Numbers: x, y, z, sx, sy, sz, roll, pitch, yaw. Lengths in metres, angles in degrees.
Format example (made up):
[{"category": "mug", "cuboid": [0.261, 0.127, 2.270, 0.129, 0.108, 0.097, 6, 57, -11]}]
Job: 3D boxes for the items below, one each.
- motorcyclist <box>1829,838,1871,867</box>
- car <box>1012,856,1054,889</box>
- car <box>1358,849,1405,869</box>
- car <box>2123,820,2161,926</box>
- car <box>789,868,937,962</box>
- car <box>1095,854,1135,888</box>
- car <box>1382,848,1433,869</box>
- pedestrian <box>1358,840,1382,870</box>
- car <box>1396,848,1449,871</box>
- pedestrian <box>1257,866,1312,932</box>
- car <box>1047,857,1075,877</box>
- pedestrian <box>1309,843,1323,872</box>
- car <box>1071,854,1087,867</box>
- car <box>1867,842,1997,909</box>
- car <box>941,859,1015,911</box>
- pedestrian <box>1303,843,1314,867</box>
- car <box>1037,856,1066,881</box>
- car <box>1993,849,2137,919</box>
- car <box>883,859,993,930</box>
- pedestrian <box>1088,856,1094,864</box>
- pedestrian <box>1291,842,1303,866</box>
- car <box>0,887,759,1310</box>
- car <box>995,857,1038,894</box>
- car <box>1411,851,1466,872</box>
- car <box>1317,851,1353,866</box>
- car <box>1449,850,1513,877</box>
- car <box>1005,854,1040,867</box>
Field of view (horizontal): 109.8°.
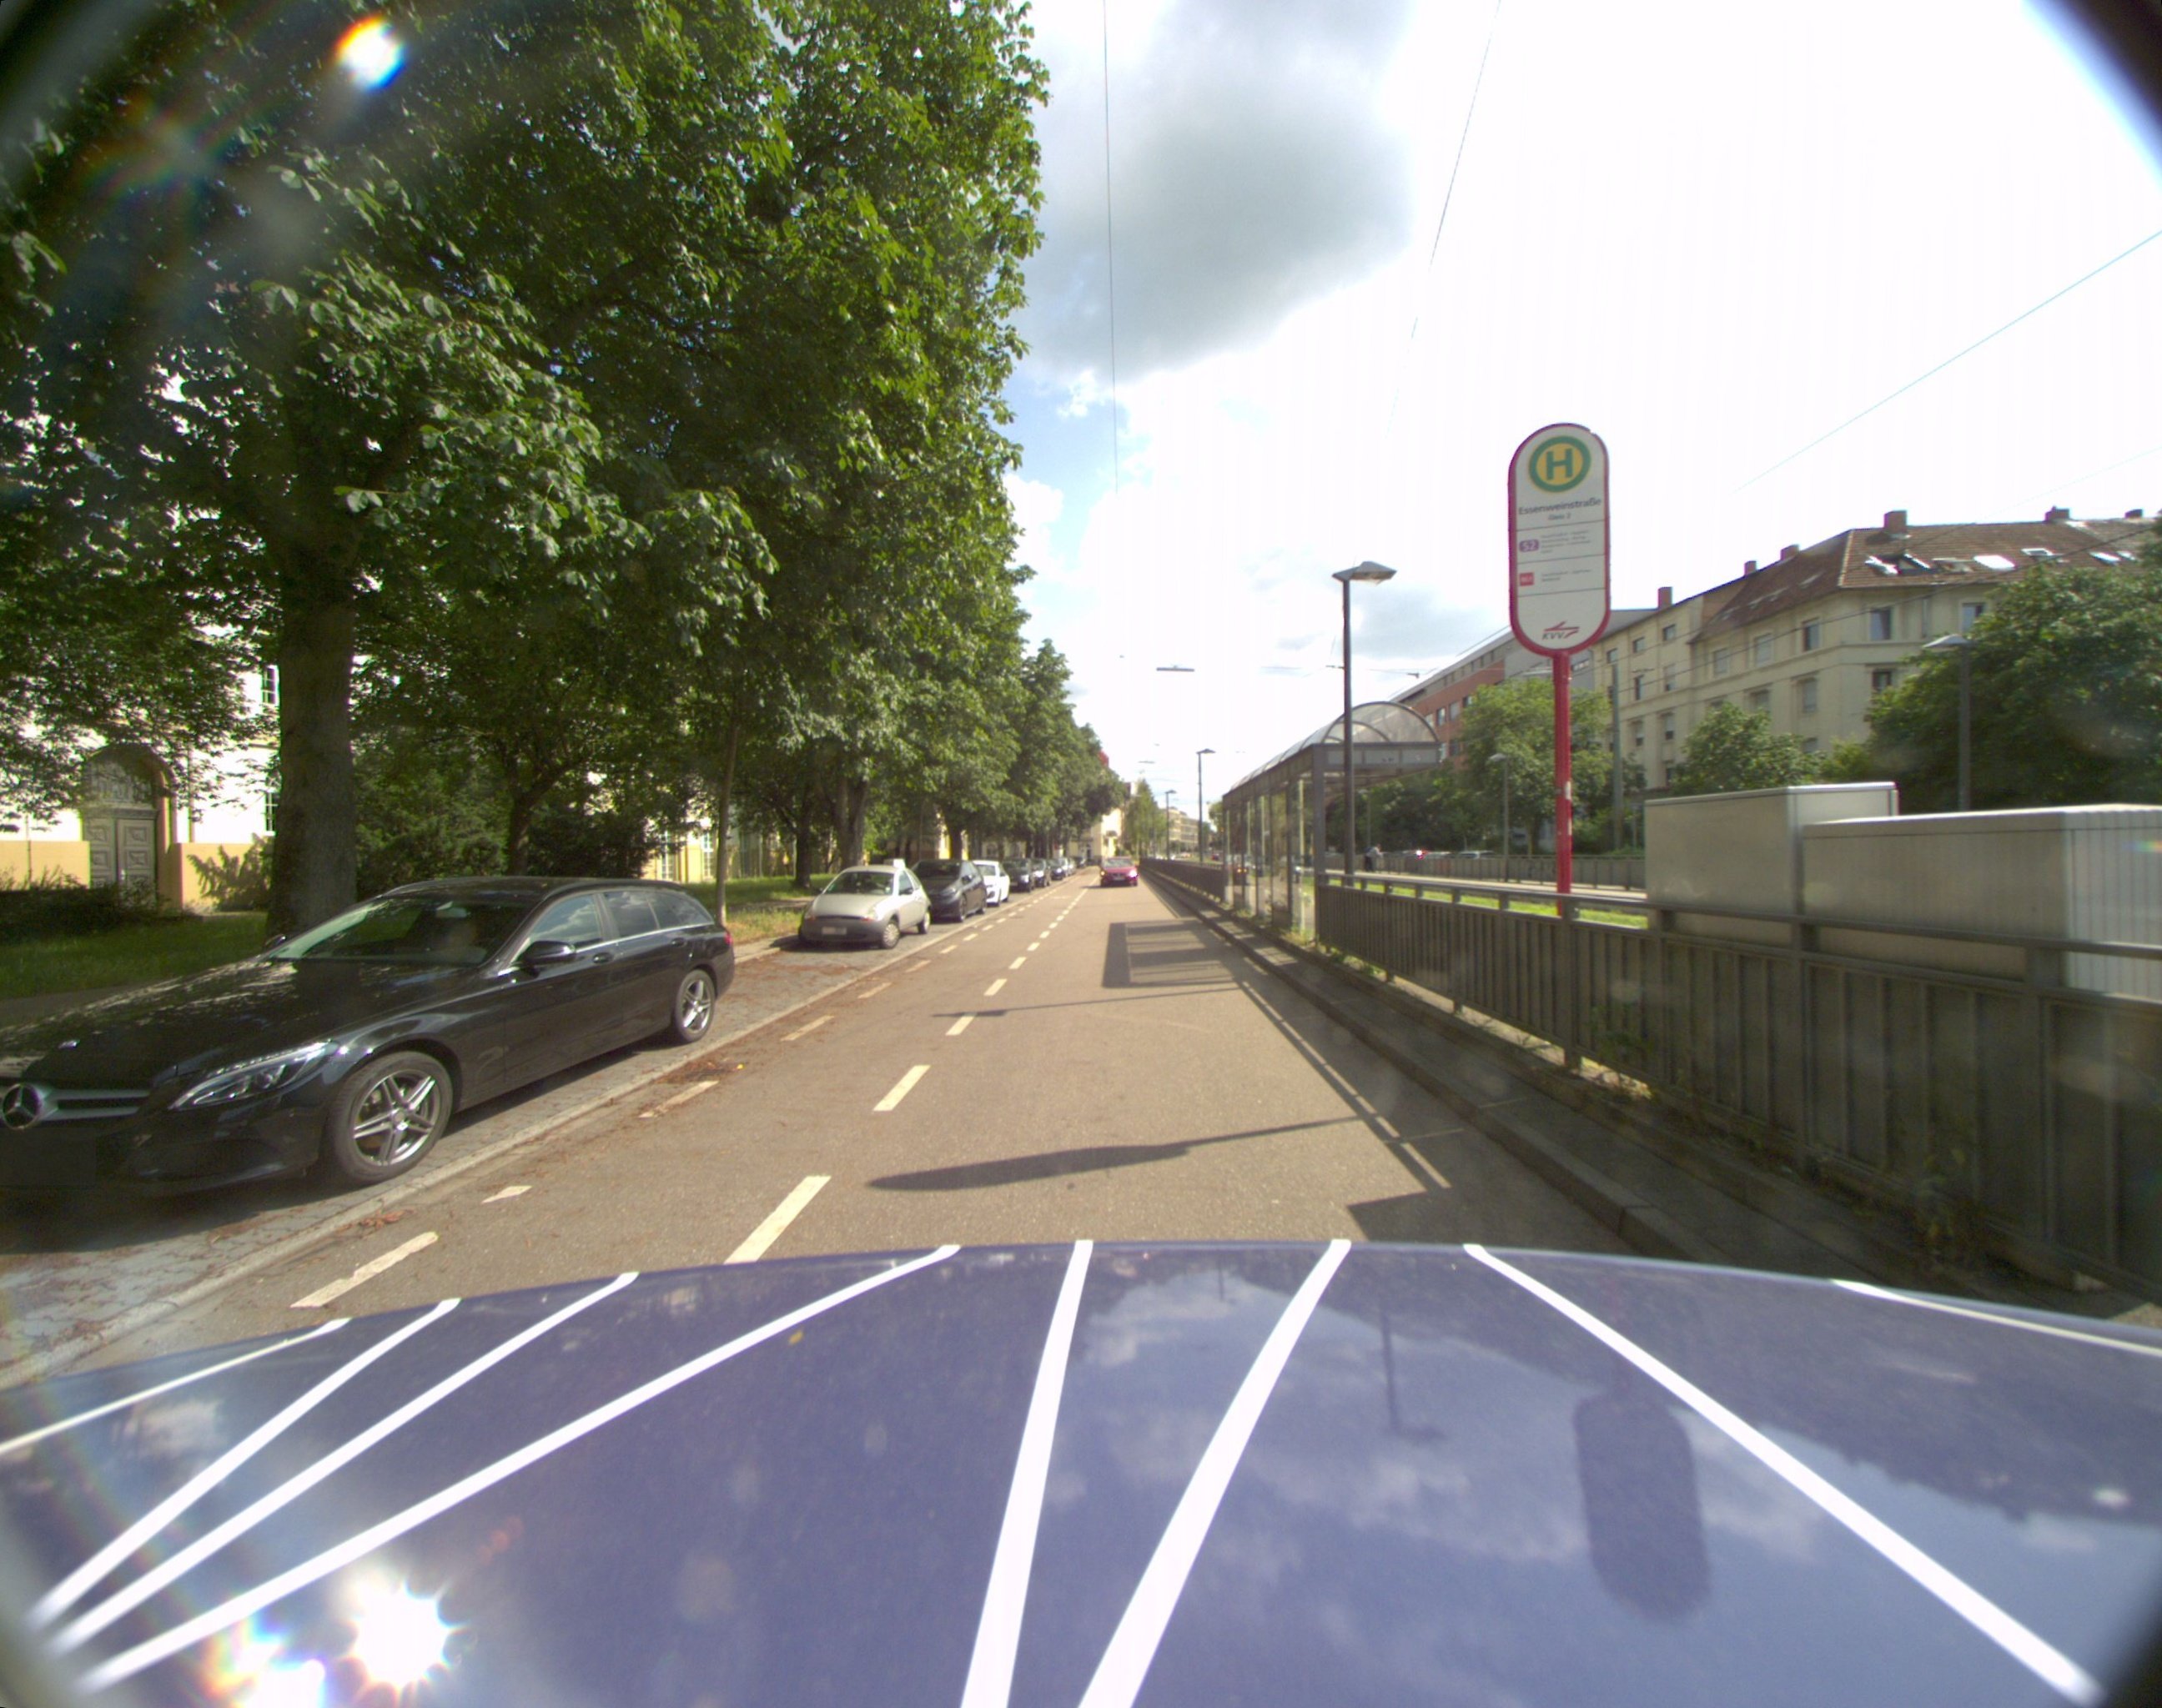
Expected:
[{"category": "motorcyclist", "cuboid": [35.836, -0.088, 35.416, 0.940, 1.331, 0.987, 0, 1, 4]}, {"category": "car", "cuboid": [-2.422, 0.906, 39.317, 1.694, 1.552, 4.308, 2, 0, 3]}, {"category": "car", "cuboid": [25.860, 0.422, 65.322, 4.006, 1.520, 1.669, -3, 0, -34]}, {"category": "car", "cuboid": [22.930, 0.329, 15.133, 3.957, 2.058, 2.045, -1, 0, -28]}, {"category": "car", "cuboid": [-3.964, 1.040, 14.413, 1.594, 1.437, 3.598, 1, 1, 3]}, {"category": "car", "cuboid": [1.677, 0.794, 37.129, 1.790, 1.499, 4.000, -2, 0, 3]}, {"category": "car", "cuboid": [25.631, 0.338, 59.613, 4.006, 1.559, 1.606, -1, 0, -31]}, {"category": "pedestrian", "cuboid": [15.659, 0.055, 41.183, 0.991, 1.569, 0.798, -1, 1, 0]}, {"category": "car", "cuboid": [25.529, 0.354, 56.720, 4.144, 1.630, 1.829, -1, 1, -37]}, {"category": "pedestrian", "cuboid": [3.461, 0.748, 12.890, 0.662, 1.066, 0.725, -1, 0, 37]}, {"category": "car", "cuboid": [-1.472, 0.944, 56.838, 1.639, 1.423, 4.016, 2, 0, 5]}, {"category": "pedestrian", "cuboid": [15.498, 0.211, 50.210, 0.752, 1.881, 0.639, -1, 3, 5]}, {"category": "car", "cuboid": [-0.258, 0.742, 89.277, 1.689, 1.379, 3.924, 0, 1, 3]}, {"category": "car", "cuboid": [23.372, 0.549, 20.834, 4.007, 1.630, 1.823, -1, -1, -34]}, {"category": "car", "cuboid": [-3.347, 0.952, 25.409, 1.840, 1.515, 4.253, 1, 0, 0]}, {"category": "pedestrian", "cuboid": [16.406, 0.080, 54.800, 0.608, 1.665, 0.625, -1, 1, 3]}, {"category": "car", "cuboid": [-1.938, 0.911, 50.908, 1.836, 1.458, 4.830, 1, 1, -1]}, {"category": "car", "cuboid": [23.522, 0.645, 18.129, 4.006, 1.477, 1.606, -1, 0, -30]}, {"category": "car", "cuboid": [-3.569, 0.952, 19.812, 1.729, 1.574, 4.678, 0, 0, 3]}, {"category": "pedestrian", "cuboid": [1.545, 0.884, 112.908, 0.804, 1.238, 0.892, -1, 2, 5]}, {"category": "pedestrian", "cuboid": [15.649, -0.018, 54.960, 0.607, 1.744, 0.626, 0, 2, 43]}, {"category": "car", "cuboid": [-4.348, 1.068, 5.417, 1.922, 1.433, 4.797, 1, 0, 2]}, {"category": "car", "cuboid": [-2.829, 0.930, 34.134, 1.559, 1.452, 3.558, 2, 1, 0]}, {"category": "car", "cuboid": [25.181, 0.538, 53.509, 4.031, 1.383, 1.811, -1, -1, -37]}, {"category": "car", "cuboid": [25.797, 0.465, 77.257, 3.316, 1.412, 1.581, -3, 1, -27]}, {"category": "car", "cuboid": [24.803, 0.545, 47.071, 4.161, 1.556, 1.921, -1, 1, -38]}, {"category": "car", "cuboid": [-8.566, 0.934, 111.413, 4.827, 1.646, 1.858, -1, 2, 13]}]
